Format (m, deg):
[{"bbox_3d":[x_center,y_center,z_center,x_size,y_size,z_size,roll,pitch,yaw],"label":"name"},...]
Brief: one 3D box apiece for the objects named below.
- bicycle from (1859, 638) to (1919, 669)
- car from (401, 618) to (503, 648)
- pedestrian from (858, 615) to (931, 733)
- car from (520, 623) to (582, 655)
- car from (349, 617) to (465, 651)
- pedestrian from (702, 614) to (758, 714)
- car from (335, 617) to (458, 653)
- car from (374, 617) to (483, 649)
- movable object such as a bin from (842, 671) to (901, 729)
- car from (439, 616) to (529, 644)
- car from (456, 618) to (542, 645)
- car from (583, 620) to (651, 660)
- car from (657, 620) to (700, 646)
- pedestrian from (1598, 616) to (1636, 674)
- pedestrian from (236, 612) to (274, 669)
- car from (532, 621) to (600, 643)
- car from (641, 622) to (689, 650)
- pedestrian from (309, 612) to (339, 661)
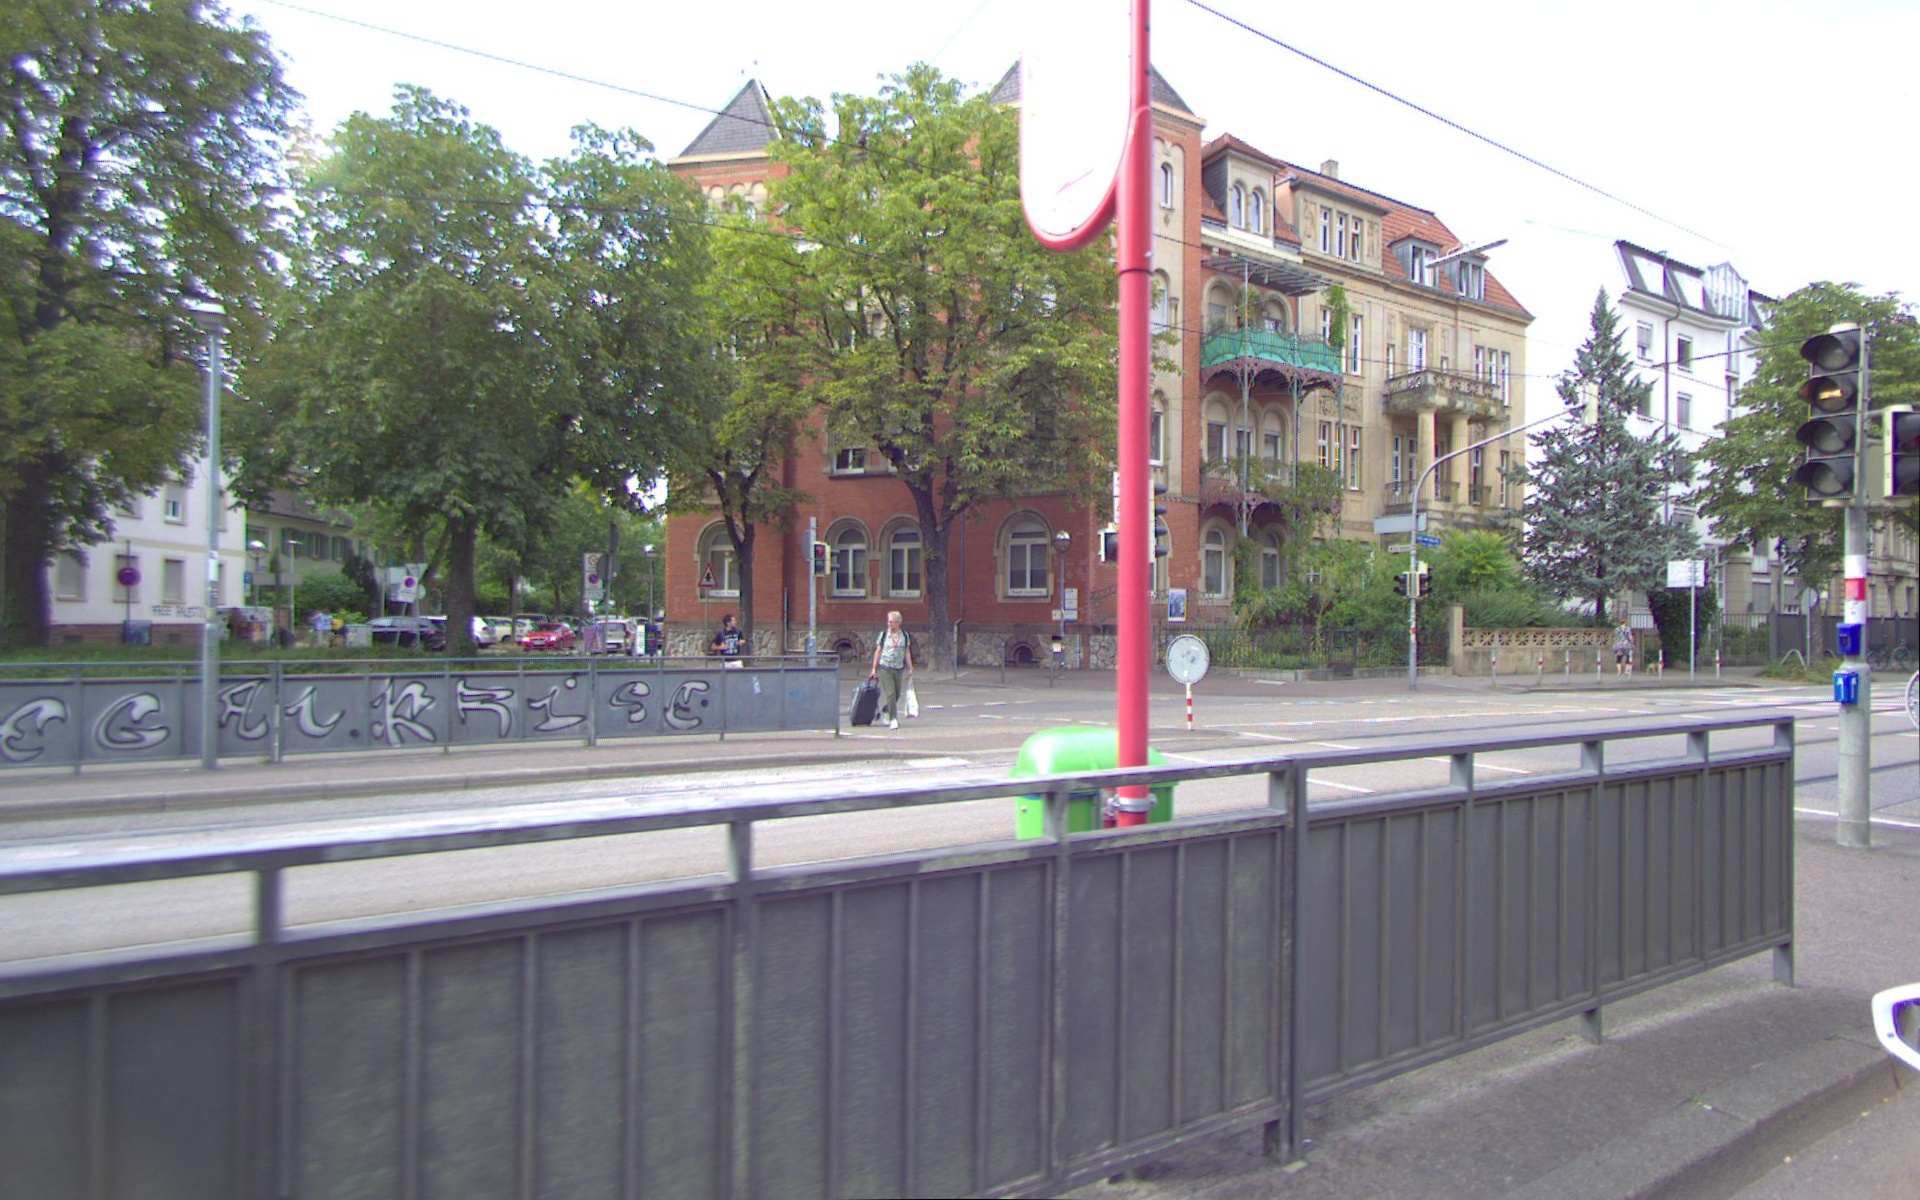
[{"bbox_3d":[34.636,1.993,37.397,1.639,1.134,0.573,-1,-1,21],"label":"bicycle"},{"bbox_3d":[-24.247,1.570,48.058,3.926,1.414,1.813,1,-1,-8],"label":"car"},{"bbox_3d":[-0.966,1.058,14.750,0.737,1.654,0.863,1,-1,-35],"label":"pedestrian"},{"bbox_3d":[-19.910,1.895,49.003,1.782,1.497,3.996,1,-1,-7],"label":"car"},{"bbox_3d":[-23.534,1.443,42.859,3.926,1.414,1.813,1,-1,-8],"label":"car"},{"bbox_3d":[-4.127,1.125,18.003,0.725,1.725,0.827,1,-1,-35],"label":"pedestrian"},{"bbox_3d":[-22.699,1.422,40.608,3.926,1.414,1.813,1,-1,-8],"label":"car"},{"bbox_3d":[-23.947,1.496,45.381,3.926,1.414,1.813,1,-1,-8],"label":"car"},{"bbox_3d":[-1.344,1.499,15.171,0.616,0.810,0.723,1,-1,-35],"label":"movable object such as a bin"},{"bbox_3d":[-25.156,1.575,53.232,3.926,1.414,1.813,1,-1,-8],"label":"car"},{"bbox_3d":[-25.572,1.745,55.847,3.926,1.414,1.813,1,-1,-8],"label":"car"},{"bbox_3d":[-13.623,1.565,40.098,1.782,1.497,3.996,1,-1,-7],"label":"car"},{"bbox_3d":[-16.399,1.909,58.643,1.782,1.414,3.996,1,-1,-7],"label":"car"},{"bbox_3d":[20.800,1.413,31.798,0.825,1.807,0.727,1,-1,-30],"label":"pedestrian"},{"bbox_3d":[-22.234,1.285,31.697,0.720,1.777,0.752,0,-1,-12],"label":"pedestrian"},{"bbox_3d":[-26.610,2.173,67.943,3.926,1.414,1.813,1,-1,-8],"label":"car"},{"bbox_3d":[-15.583,1.882,53.168,1.782,1.414,3.996,1,-1,-7],"label":"car"},{"bbox_3d":[-23.346,1.342,36.869,0.671,1.777,0.732,0,-1,-9],"label":"pedestrian"}]
